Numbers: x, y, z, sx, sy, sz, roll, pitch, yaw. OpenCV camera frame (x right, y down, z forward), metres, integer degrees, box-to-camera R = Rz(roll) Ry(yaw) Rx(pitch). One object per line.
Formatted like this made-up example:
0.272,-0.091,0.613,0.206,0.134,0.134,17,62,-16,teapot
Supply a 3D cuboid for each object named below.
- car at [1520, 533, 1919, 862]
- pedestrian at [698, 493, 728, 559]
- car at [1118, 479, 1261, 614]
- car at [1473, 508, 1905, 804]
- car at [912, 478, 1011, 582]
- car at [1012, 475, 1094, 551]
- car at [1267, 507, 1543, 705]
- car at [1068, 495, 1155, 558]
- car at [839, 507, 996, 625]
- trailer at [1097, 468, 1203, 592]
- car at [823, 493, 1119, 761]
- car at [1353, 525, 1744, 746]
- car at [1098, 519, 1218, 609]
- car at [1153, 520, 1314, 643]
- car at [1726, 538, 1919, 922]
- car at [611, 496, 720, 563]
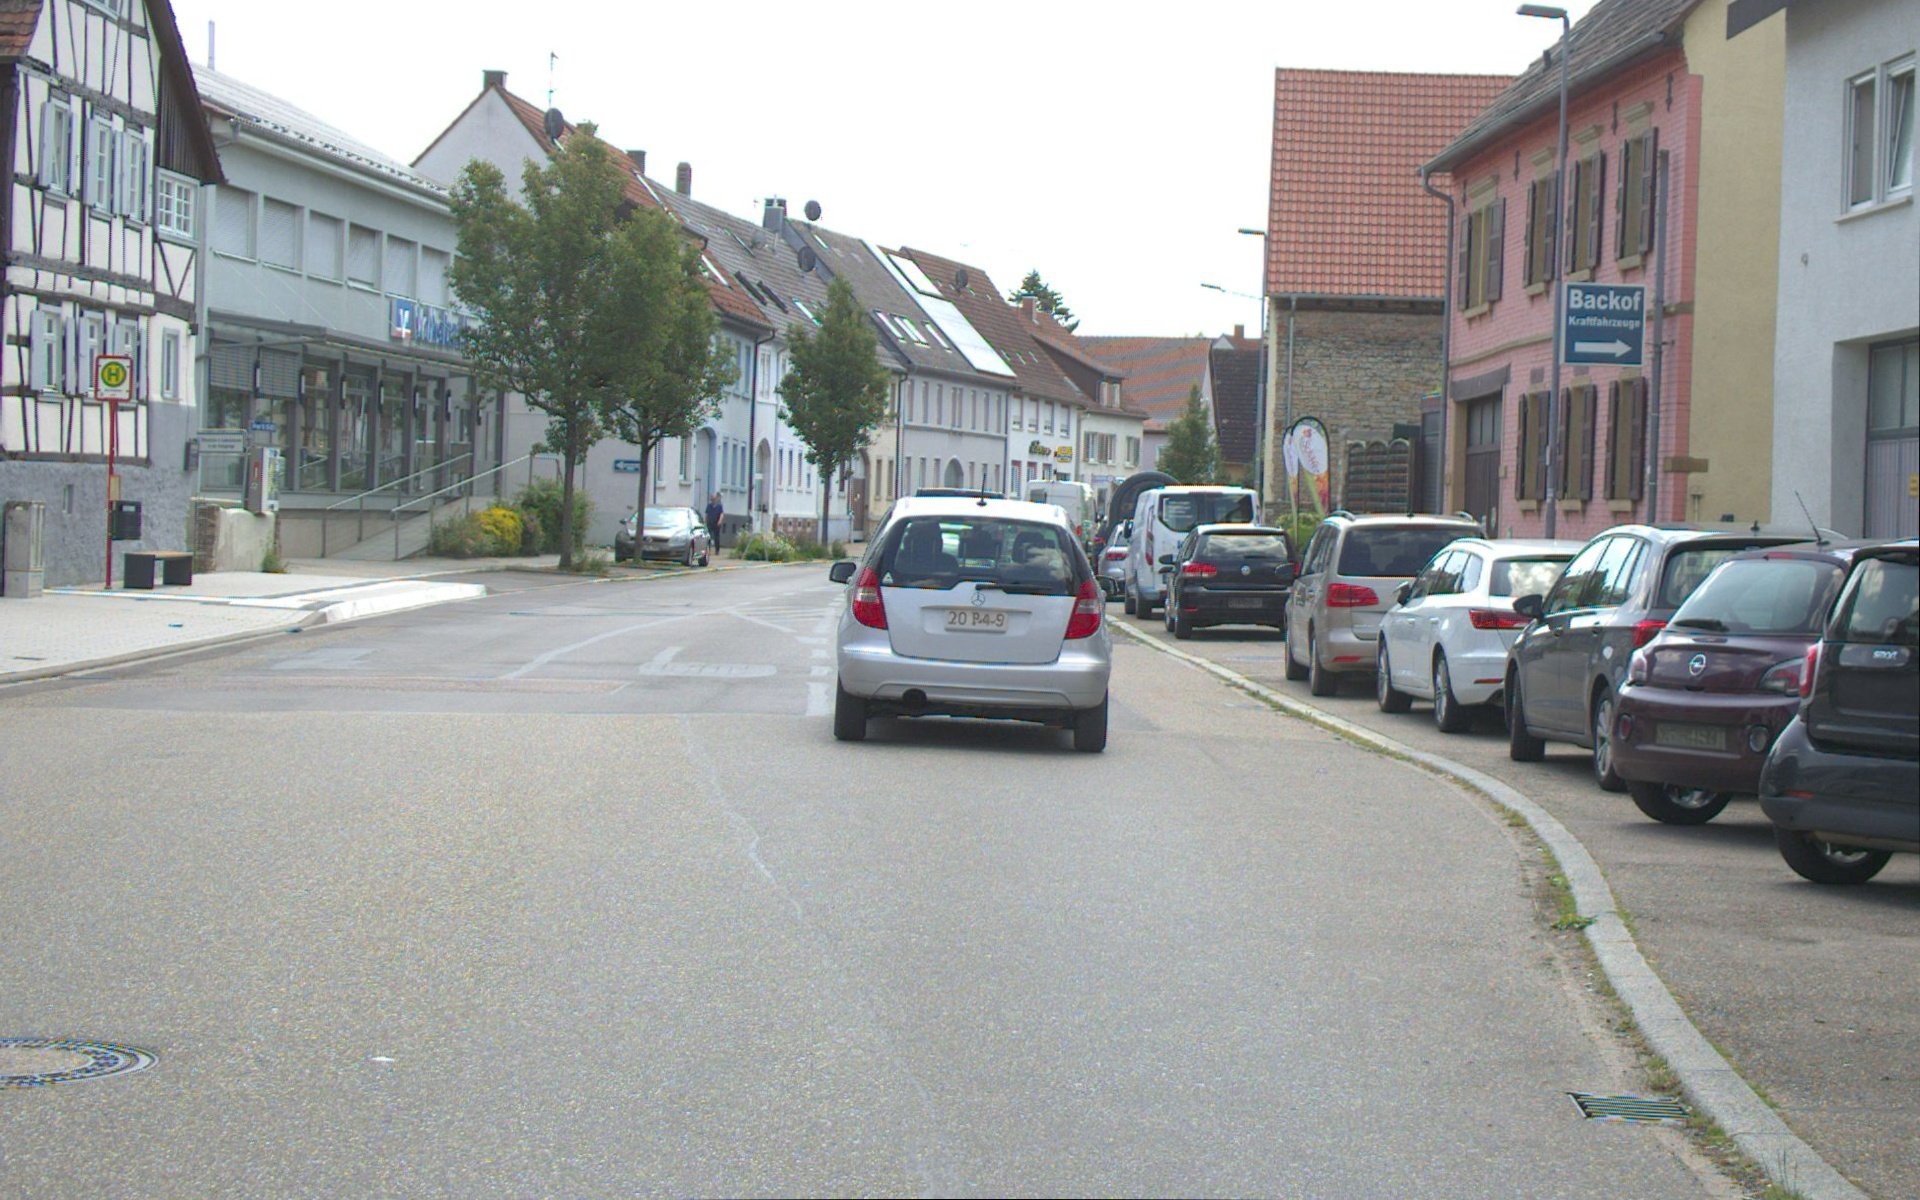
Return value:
4.744,0.452,17.612,3.226,1.499,1.827,1,2,-29,car
-6.759,-2.025,94.007,0.739,1.795,0.642,1,1,2,pedestrian
3.499,-0.848,53.159,1.892,1.975,4.931,-1,2,0,car
4.418,0.261,21.457,1.662,1.619,4.272,1,2,-1,car
0.064,-1.400,69.091,1.769,1.881,4.447,4,1,1,car
2.841,-2.624,104.593,2.236,2.214,3.999,1,1,5,car
4.067,-0.006,32.112,1.993,1.675,4.323,1,2,0,car
3.828,-1.870,87.223,1.993,1.554,4.000,0,2,0,car
-0.550,-0.485,45.381,1.945,1.402,4.000,2,2,0,car
3.730,-1.406,68.006,1.845,2.346,3.590,1,2,0,trailer
0.045,0.127,23.277,1.769,1.589,4.000,2,1,-1,car
4.465,0.211,26.785,1.993,1.512,4.372,1,2,-4,car
3.576,-0.683,62.815,1.875,1.476,4.675,2,2,0,car
3.565,-0.280,45.374,1.774,1.490,4.162,1,2,0,car
4.973,0.532,14.513,2.778,1.499,1.878,1,2,-23,car
-6.894,-1.668,80.762,1.805,1.455,4.157,3,2,5,car
